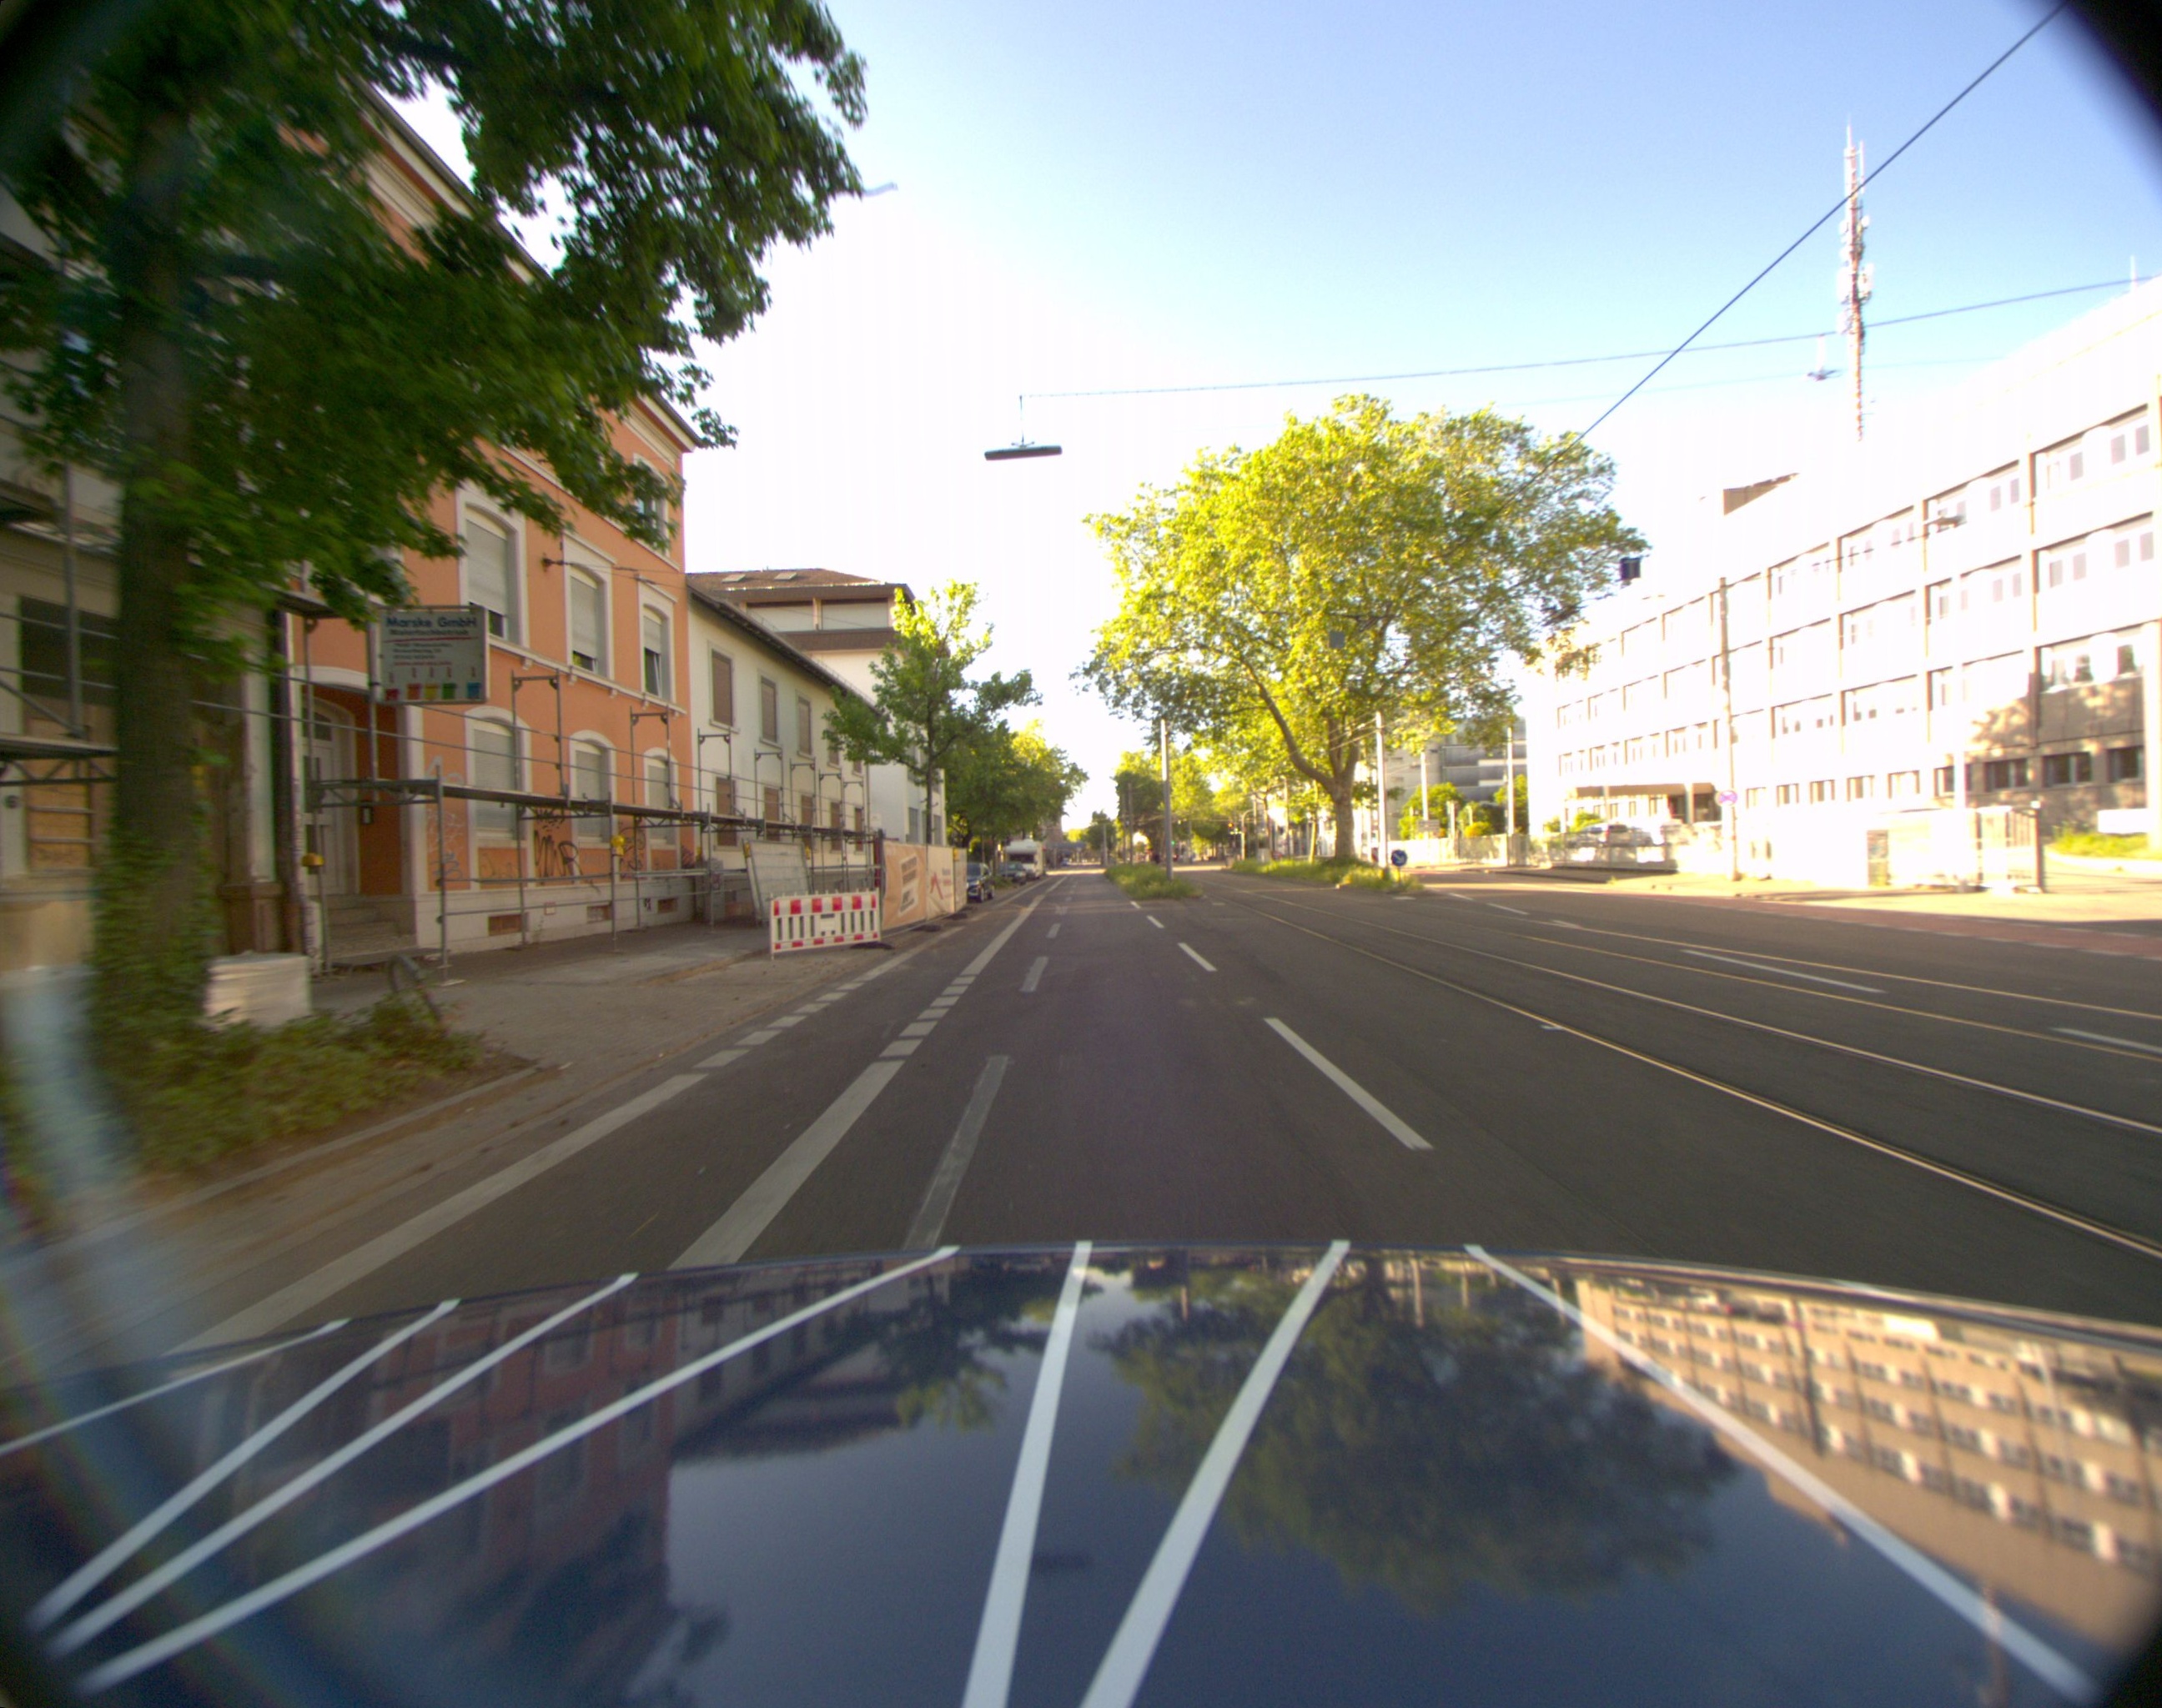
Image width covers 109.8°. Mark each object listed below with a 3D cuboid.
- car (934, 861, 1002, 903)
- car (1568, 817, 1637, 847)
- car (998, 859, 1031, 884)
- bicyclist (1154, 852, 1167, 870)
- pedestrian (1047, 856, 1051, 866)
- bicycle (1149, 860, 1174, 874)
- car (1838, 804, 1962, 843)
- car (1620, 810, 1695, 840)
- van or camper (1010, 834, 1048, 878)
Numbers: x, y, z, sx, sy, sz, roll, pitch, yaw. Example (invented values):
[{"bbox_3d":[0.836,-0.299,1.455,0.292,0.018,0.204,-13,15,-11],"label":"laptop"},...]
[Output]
[{"bbox_3d":[-4.295,1.031,29.485,1.767,1.475,4.110,-1,0,3],"label":"car"},{"bbox_3d":[34.333,-1.386,50.176,1.852,1.807,4.000,-3,0,1],"label":"car"},{"bbox_3d":[-4.029,1.039,46.433,1.656,1.439,3.800,-1,0,0],"label":"car"},{"bbox_3d":[7.217,0.599,69.180,1.007,1.567,0.760,-3,1,-3],"label":"bicyclist"},{"bbox_3d":[-5.708,1.239,137.357,0.621,1.771,0.686,-3,1,1],"label":"pedestrian"},{"bbox_3d":[7.315,1.153,69.182,2.083,1.122,0.760,-3,1,-3],"label":"bicycle"},{"bbox_3d":[42.138,-1.540,39.159,4.277,1.709,1.853,-3,1,1],"label":"car"},{"bbox_3d":[37.387,-1.844,49.419,1.852,1.742,4.000,-3,0,1],"label":"car"},{"bbox_3d":[-3.792,0.134,56.802,2.172,3.074,7.290,-1,0,1],"label":"van or camper"}]
